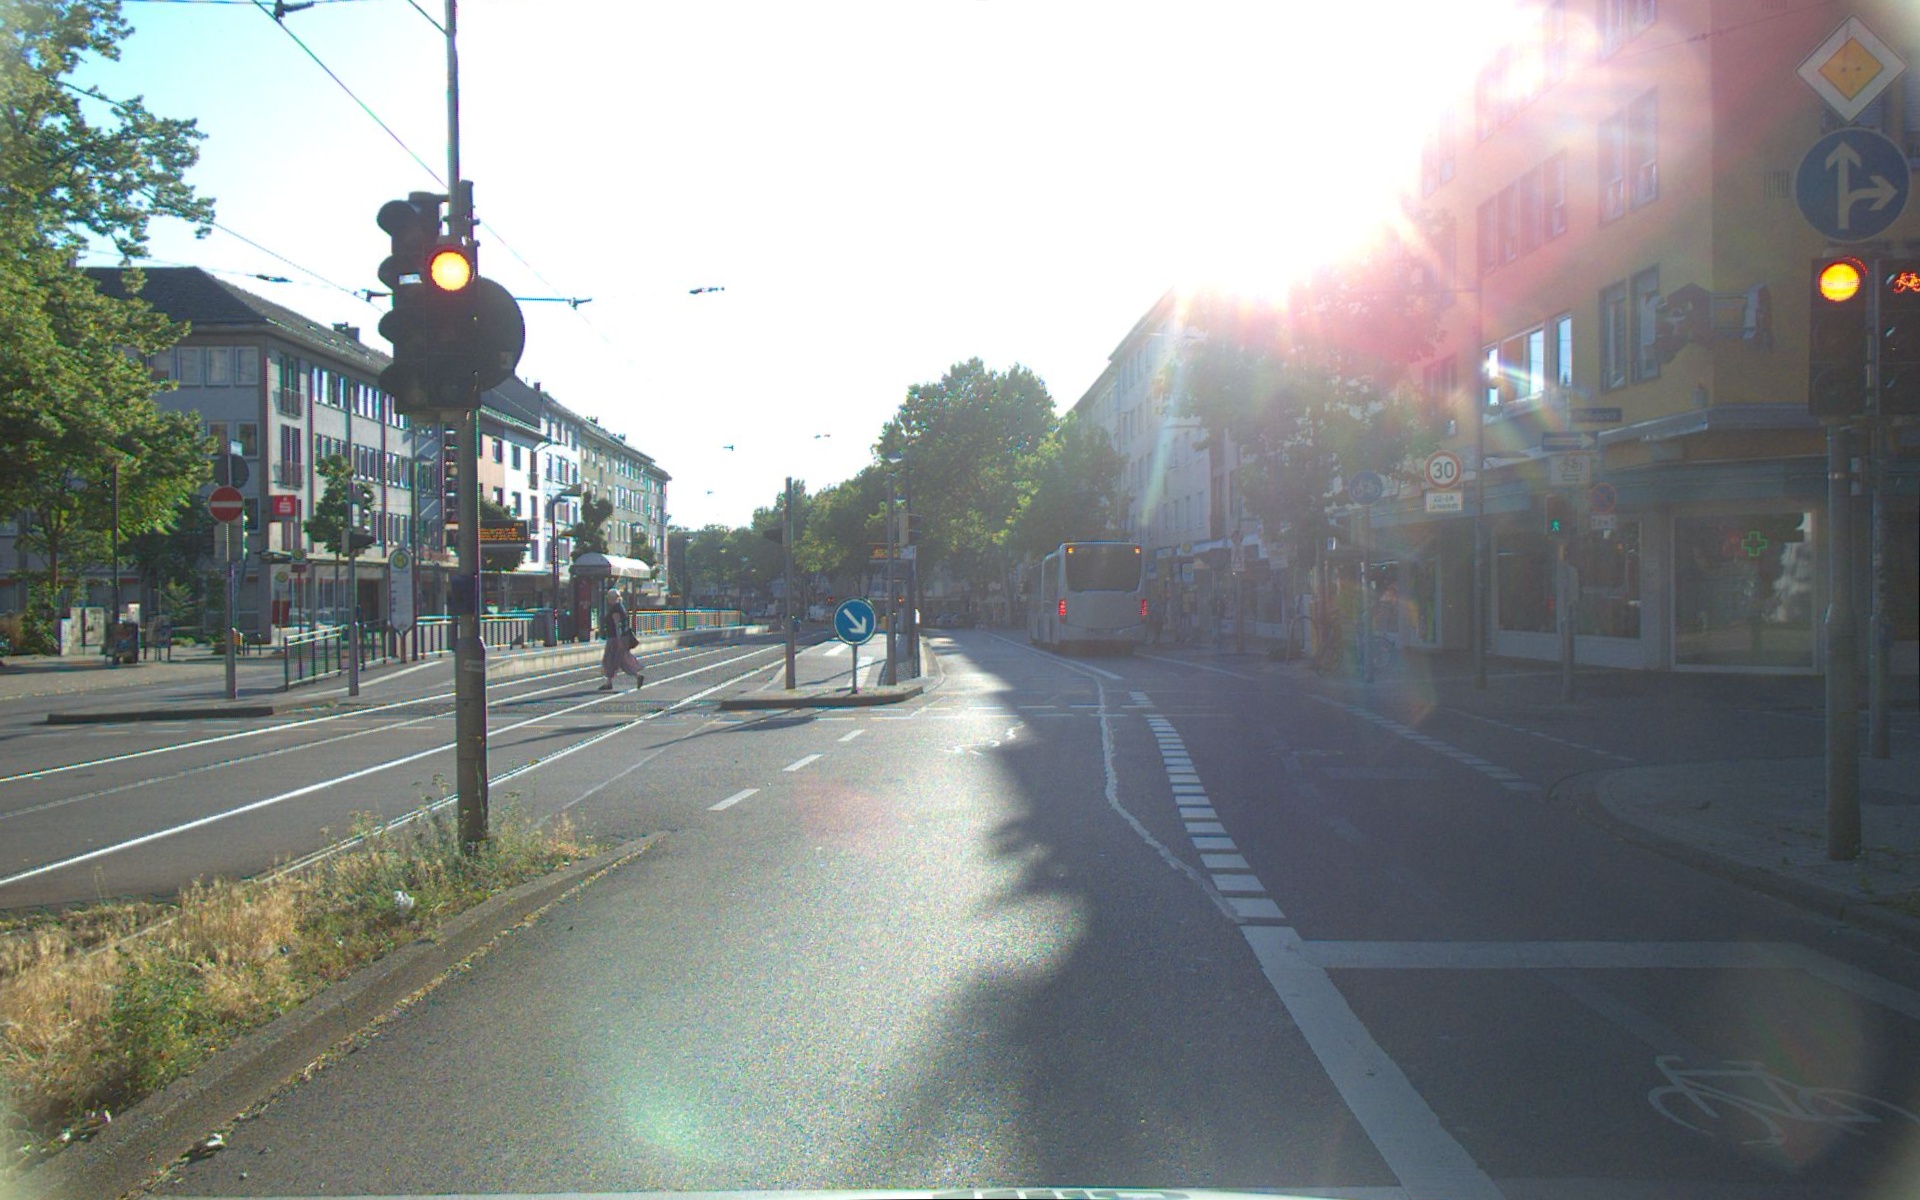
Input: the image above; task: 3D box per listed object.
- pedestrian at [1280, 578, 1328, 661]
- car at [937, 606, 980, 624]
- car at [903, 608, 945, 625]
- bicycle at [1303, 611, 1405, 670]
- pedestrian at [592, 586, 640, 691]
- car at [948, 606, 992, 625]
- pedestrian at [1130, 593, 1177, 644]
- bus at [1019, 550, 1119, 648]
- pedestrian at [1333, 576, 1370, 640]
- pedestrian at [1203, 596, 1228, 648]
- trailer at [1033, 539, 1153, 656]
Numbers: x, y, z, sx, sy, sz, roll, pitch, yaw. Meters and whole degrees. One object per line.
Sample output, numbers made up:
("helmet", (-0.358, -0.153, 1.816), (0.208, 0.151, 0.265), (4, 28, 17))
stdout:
("pedestrian", (8.864, 0.495, 42.687), (0.934, 2.048, 0.917), (-3, 0, -3))
("car", (-0.138, 1.465, 161.412), (3.848, 1.729, 1.815), (-1, 0, -30))
("car", (-3.598, 1.624, 166.294), (3.848, 1.624, 1.674), (-1, 0, -30))
("bicycle", (7.472, 0.759, 31.423), (1.737, 1.039, 0.694), (-2, 0, -2))
("pedestrian", (-6.024, 0.664, 28.983), (0.666, 1.801, 0.687), (-1, 0, -1))
("car", (0.951, 1.502, 158.741), (3.848, 1.729, 1.815), (-1, 0, -30))
("pedestrian", (6.486, 0.606, 55.500), (1.131, 1.689, 1.178), (-1, 0, -21))
("bus", (3.757, -0.030, 58.994), (2.755, 3.156, 9.092), (1, 0, -1))
("pedestrian", (12.706, 0.259, 53.711), (0.967, 2.049, 0.929), (-1, 0, 0))
("pedestrian", (8.273, 0.696, 53.553), (0.662, 1.656, 0.655), (1, 0, 0))
("trailer", (3.873, -0.058, 50.081), (2.755, 3.165, 8.792), (1, 0, -1))
